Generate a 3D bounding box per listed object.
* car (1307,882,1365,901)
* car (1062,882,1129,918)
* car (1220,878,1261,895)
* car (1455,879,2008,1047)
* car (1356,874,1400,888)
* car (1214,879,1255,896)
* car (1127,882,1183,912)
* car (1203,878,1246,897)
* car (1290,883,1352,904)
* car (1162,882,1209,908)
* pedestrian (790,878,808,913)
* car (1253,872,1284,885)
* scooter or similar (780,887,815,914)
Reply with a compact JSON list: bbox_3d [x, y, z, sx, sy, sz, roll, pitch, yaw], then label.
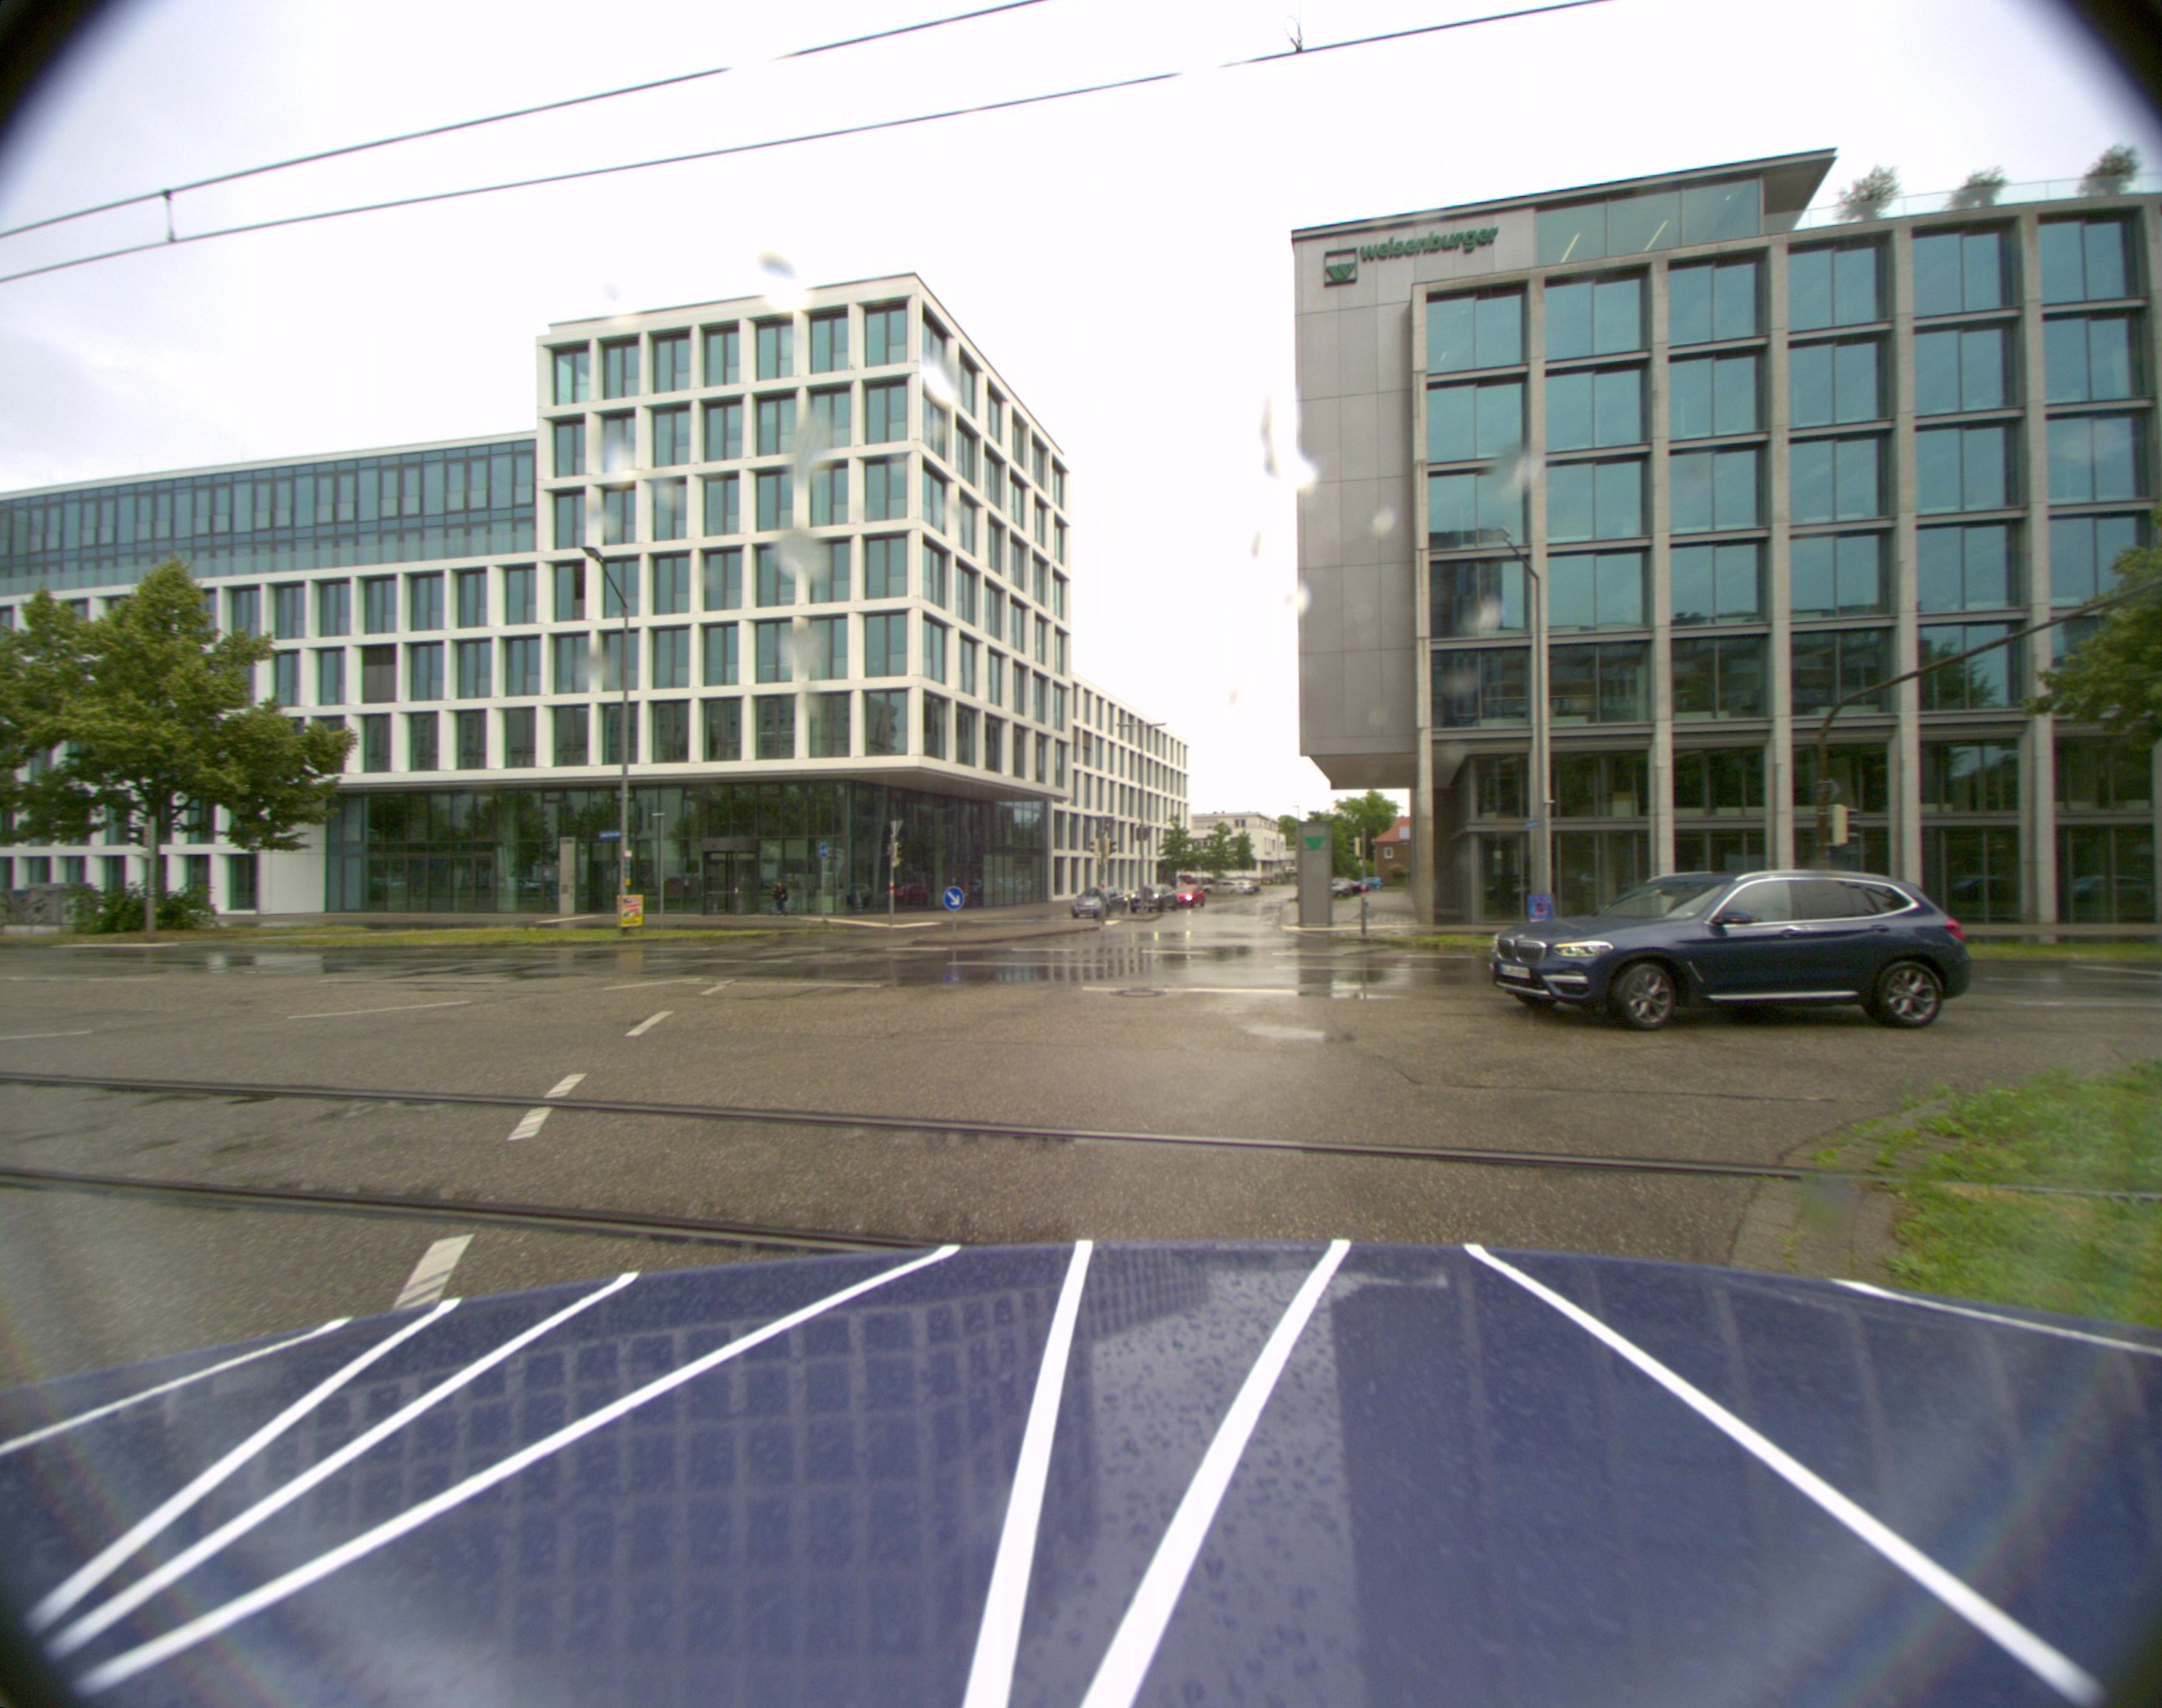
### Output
[{"bbox_3d":[22.617,3.353,67.411,4.649,1.499,2.004,-3,-1,24],"label":"car"},{"bbox_3d":[0.746,2.121,35.703,1.884,1.427,4.101,-3,-1,19],"label":"car"},{"bbox_3d":[17.315,3.527,82.501,3.992,1.652,2.003,-3,-1,19],"label":"car"},{"bbox_3d":[7.125,1.135,8.713,4.713,1.650,1.930,0,-1,-1],"label":"car"},{"bbox_3d":[37.030,3.338,94.747,5.016,1.499,1.857,-3,-1,24],"label":"car"},{"bbox_3d":[16.153,3.529,79.988,3.992,1.652,2.003,-3,-1,19],"label":"car"},{"bbox_3d":[4.220,2.393,42.613,1.883,1.427,4.101,-3,-1,23],"label":"car"},{"bbox_3d":[14.416,3.379,76.325,3.992,1.652,2.003,-3,-1,19],"label":"car"},{"bbox_3d":[19.964,3.296,63.288,4.649,1.499,2.004,-3,-1,24],"label":"car"},{"bbox_3d":[6.798,2.617,49.016,1.883,1.427,4.101,-3,-1,23],"label":"car"},{"bbox_3d":[-13.531,1.987,36.451,0.545,1.634,0.636,1,0,11],"label":"pedestrian"},{"bbox_3d":[26.810,3.475,108.713,3.992,1.652,2.003,-3,-1,19],"label":"car"},{"bbox_3d":[-13.582,2.219,36.520,0.550,1.145,2.164,-3,-1,9],"label":"scooter or similar"}]
